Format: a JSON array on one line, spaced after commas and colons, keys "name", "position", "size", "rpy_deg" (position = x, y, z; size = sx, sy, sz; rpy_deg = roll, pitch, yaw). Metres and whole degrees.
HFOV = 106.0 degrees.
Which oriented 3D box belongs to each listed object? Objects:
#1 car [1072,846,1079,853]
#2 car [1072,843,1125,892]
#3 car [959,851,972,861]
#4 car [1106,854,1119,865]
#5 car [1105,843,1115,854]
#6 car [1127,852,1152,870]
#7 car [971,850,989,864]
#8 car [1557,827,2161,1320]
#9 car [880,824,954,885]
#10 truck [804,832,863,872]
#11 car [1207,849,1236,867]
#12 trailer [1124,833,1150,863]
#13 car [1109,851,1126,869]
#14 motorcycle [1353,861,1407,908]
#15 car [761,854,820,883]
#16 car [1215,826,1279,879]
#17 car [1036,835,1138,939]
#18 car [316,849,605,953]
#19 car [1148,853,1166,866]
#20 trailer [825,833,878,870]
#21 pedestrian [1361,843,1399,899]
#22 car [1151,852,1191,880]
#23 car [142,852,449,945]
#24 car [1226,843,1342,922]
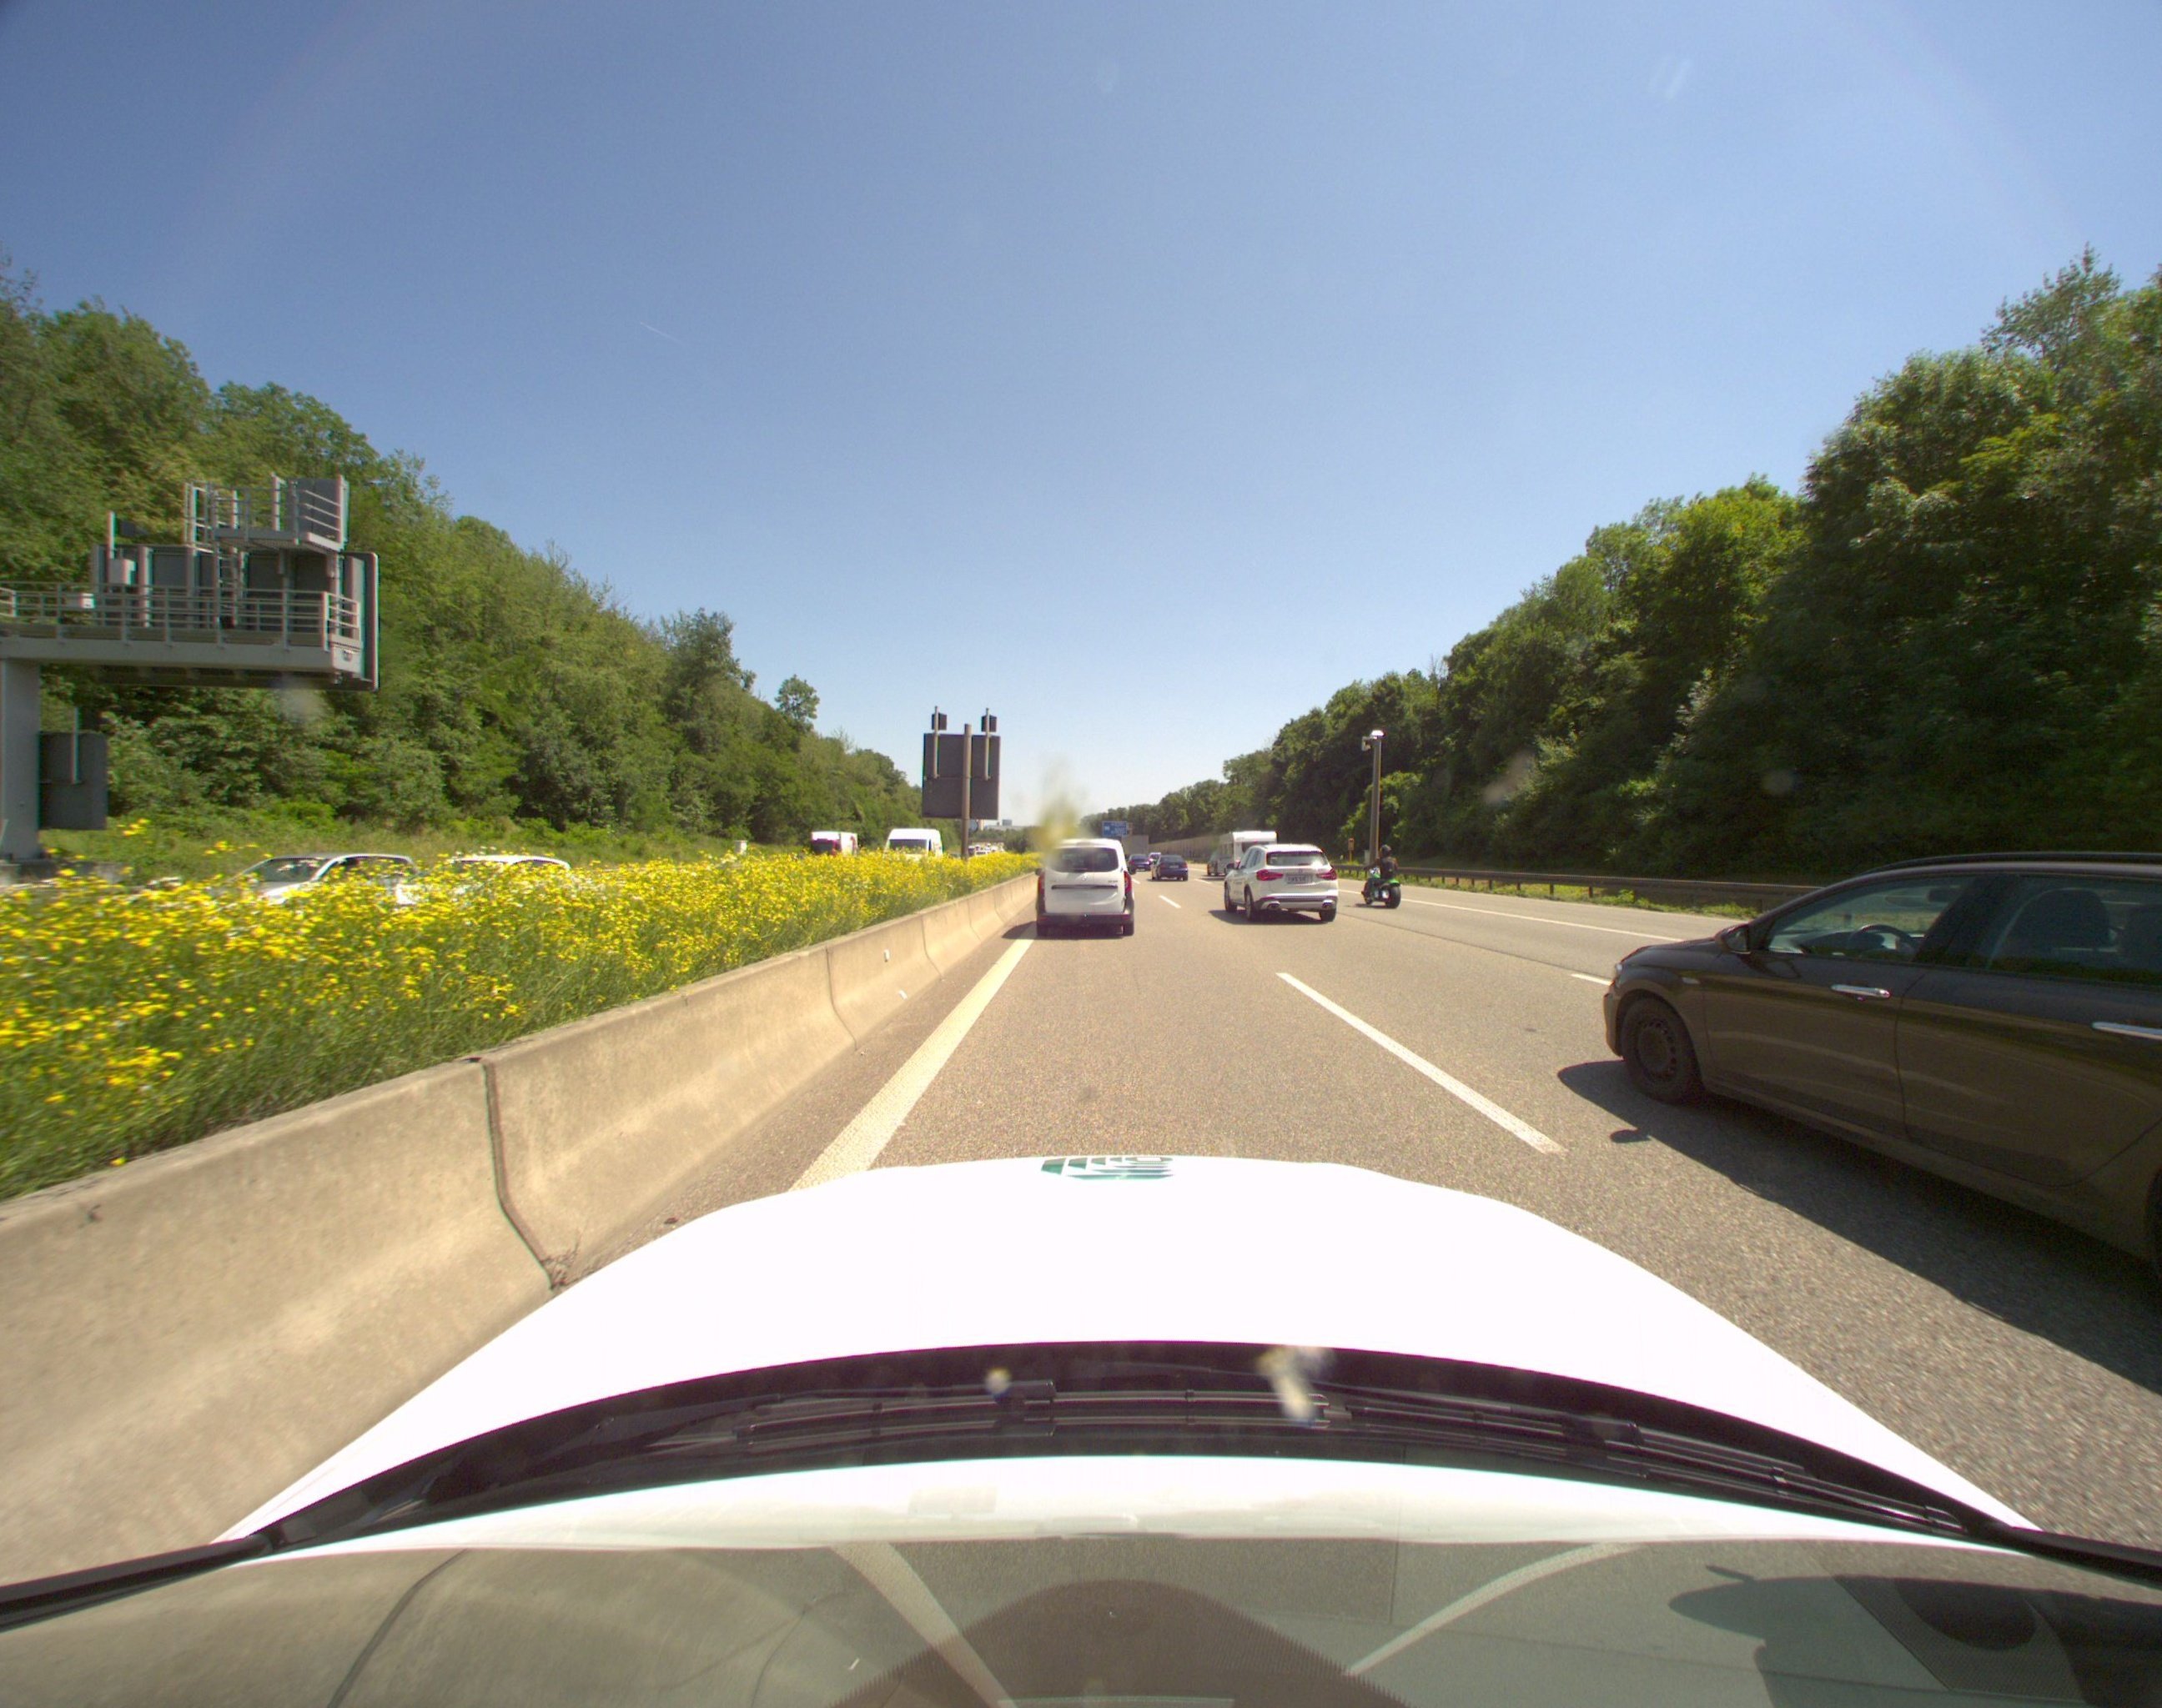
[{"name": "car", "position": [-1.584, -1.330, 251.842], "size": [1.986, 2.013, 4.001], "rpy_deg": [0, 0, 2]}, {"name": "car", "position": [0.718, 0.501, 32.957], "size": [1.986, 1.860, 4.001], "rpy_deg": [0, 0, 1]}, {"name": "car", "position": [-21.927, 0.397, 154.541], "size": [1.989, 1.761, 3.996], "rpy_deg": [0, 0, -3]}, {"name": "car", "position": [4.367, 0.799, 112.803], "size": [1.817, 1.447, 4.001], "rpy_deg": [0, 0, 1]}, {"name": "car", "position": [5.639, -1.021, 158.371], "size": [1.986, 2.013, 4.002], "rpy_deg": [-1, 0, 2]}, {"name": "car", "position": [4.798, 0.536, 67.121], "size": [1.817, 1.424, 4.001], "rpy_deg": [0, 0, 1]}, {"name": "car", "position": [-14.669, 0.381, 118.504], "size": [1.987, 2.013, 3.999], "rpy_deg": [0, 0, 0]}, {"name": "car", "position": [4.243, 0.662, 3.522], "size": [1.832, 1.513, 4.402], "rpy_deg": [0, 1, 0]}, {"name": "car", "position": [-7.341, 0.023, 37.108], "size": [1.986, 2.541, 5.911], "rpy_deg": [0, 0, 2]}, {"name": "truck", "position": [-19.615, -0.183, 64.939], "size": [2.398, 3.005, 7.459], "rpy_deg": [0, 0, 0]}, {"name": "car", "position": [11.571, 0.351, 67.207], "size": [1.817, 1.424, 4.001], "rpy_deg": [0, 0, 1]}, {"name": "trailer", "position": [7.727, -0.795, 113.663], "size": [3.070, 3.985, 10.326], "rpy_deg": [0, 0, 2]}, {"name": "car", "position": [4.117, 0.626, 91.184], "size": [1.817, 1.989, 4.001], "rpy_deg": [0, 0, 1]}, {"name": "motorcycle", "position": [8.141, 0.798, 22.251], "size": [0.855, 1.181, 2.280], "rpy_deg": [0, 1, 6]}, {"name": "car", "position": [-15.596, 0.759, 43.887], "size": [1.781, 1.454, 3.542], "rpy_deg": [0, 0, 1]}, {"name": "car", "position": [9.151, -0.094, 45.582], "size": [2.470, 2.765, 6.222], "rpy_deg": [0, 0, 1]}, {"name": "car", "position": [0.139, 0.576, 16.298], "size": [1.796, 1.808, 4.001], "rpy_deg": [0, 0, 1]}, {"name": "car", "position": [-10.659, 0.718, 14.452], "size": [1.986, 1.574, 4.002], "rpy_deg": [0, 0, 2]}, {"name": "car", "position": [8.529, 0.586, 91.652], "size": [1.817, 1.424, 4.001], "rpy_deg": [0, 0, 1]}, {"name": "trailer", "position": [-19.578, -0.208, 69.974], "size": [2.398, 3.005, 7.459], "rpy_deg": [0, 0, 0]}, {"name": "pedestrian", "position": [8.125, 0.449, 22.139], "size": [0.847, 1.478, 0.639], "rpy_deg": [0, 0, 5]}, {"name": "car", "position": [4.801, 0.606, 43.982], "size": [1.817, 1.424, 4.001], "rpy_deg": [0, 0, 1]}, {"name": "car", "position": [-14.880, 0.751, 15.812], "size": [1.986, 1.574, 4.002], "rpy_deg": [0, 0, 2]}, {"name": "car", "position": [4.518, 0.589, 18.685], "size": [1.863, 1.608, 3.881], "rpy_deg": [0, 0, 3]}]
